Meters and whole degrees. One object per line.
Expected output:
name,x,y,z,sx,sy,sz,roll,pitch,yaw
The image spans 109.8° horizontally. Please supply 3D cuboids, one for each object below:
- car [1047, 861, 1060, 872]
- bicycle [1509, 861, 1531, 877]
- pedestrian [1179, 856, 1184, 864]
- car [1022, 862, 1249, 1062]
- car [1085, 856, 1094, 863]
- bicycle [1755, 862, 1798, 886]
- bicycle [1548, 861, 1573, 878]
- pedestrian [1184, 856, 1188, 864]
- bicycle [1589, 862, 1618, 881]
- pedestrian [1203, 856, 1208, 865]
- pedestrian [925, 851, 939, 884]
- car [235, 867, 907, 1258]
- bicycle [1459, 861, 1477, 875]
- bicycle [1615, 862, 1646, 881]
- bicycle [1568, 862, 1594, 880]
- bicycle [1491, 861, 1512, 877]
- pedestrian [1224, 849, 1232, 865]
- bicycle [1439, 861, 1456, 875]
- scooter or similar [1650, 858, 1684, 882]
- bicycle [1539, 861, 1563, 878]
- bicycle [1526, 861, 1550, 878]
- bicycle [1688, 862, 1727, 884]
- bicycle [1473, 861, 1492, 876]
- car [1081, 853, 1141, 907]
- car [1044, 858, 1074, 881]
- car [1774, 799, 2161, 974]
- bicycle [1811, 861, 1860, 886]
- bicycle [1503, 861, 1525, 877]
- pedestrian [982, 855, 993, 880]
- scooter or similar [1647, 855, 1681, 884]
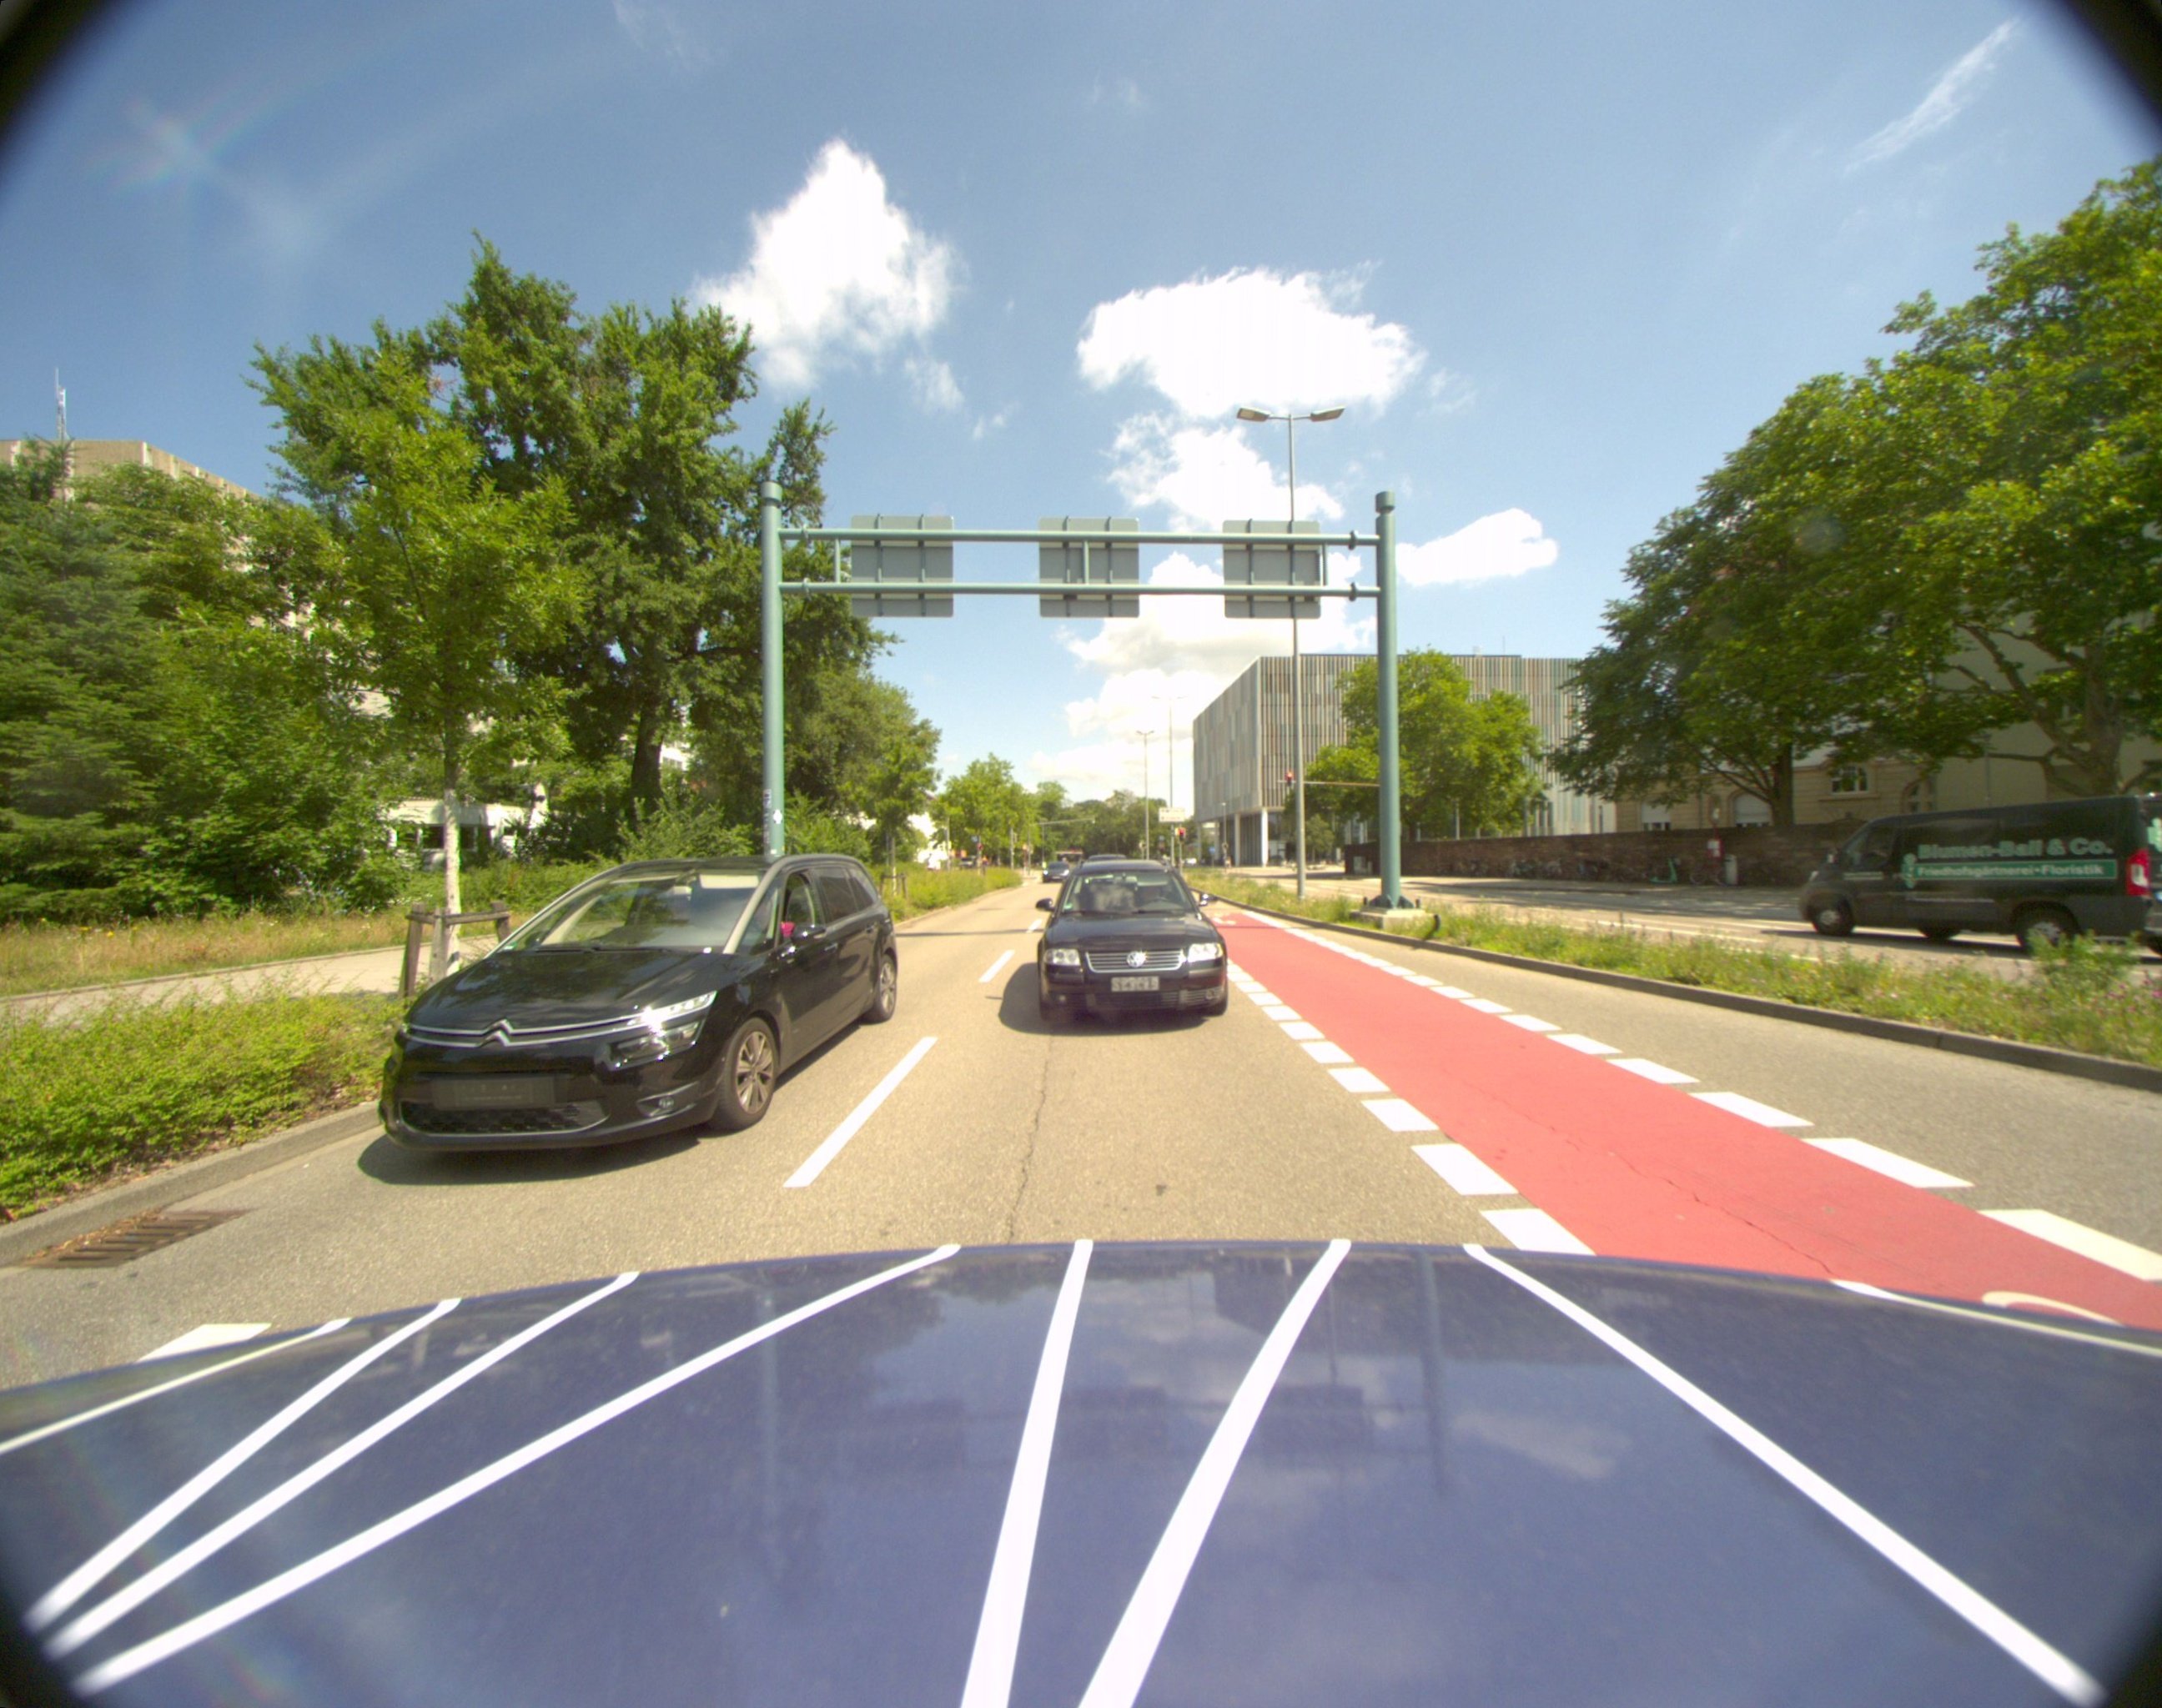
car,-4.341,1.960,122.148,1.816,1.598,4.479,-3,0,1
bicycle,23.350,0.794,40.424,0.265,0.826,1.234,-1,0,-11
pedestrian,16.973,1.043,128.396,0.696,1.445,0.689,-1,0,5
car,0.462,0.873,8.280,1.723,1.472,4.594,-3,0,1
car,2.138,1.354,184.311,1.758,1.581,4.275,-1,0,-4
bicycle,25.180,0.710,27.537,0.265,0.826,1.235,-1,0,-11
bicycle,23.654,0.753,37.485,0.265,0.826,1.235,-1,0,-11
pedestrian,17.926,1.004,129.909,0.696,1.445,0.689,-1,0,5
bicycle,23.949,0.787,34.839,0.265,0.826,1.235,-1,0,-11
pedestrian,19.342,0.989,118.359,0.696,1.445,0.689,-1,0,5
pedestrian,-9.196,0.830,46.908,0.846,2.026,0.901,-1,0,-10
car,-2.769,0.961,5.596,1.816,1.598,4.479,-3,0,1
bicycle,22.798,0.838,44.770,0.265,0.826,1.235,-1,0,-11
bicycle,24.139,0.775,33.387,0.265,0.826,1.235,-1,0,-11
bicycle,23.795,0.784,36.174,0.265,0.826,1.235,-1,0,-11
bicycle,23.144,0.822,41.819,0.265,0.826,1.234,-1,0,-11
pedestrian,18.742,0.433,96.883,0.864,2.002,0.995,-1,0,-1
bicycle,22.480,0.837,46.665,0.265,0.826,1.235,-1,0,-11
scooter or similar,24.566,0.670,31.867,0.266,1.014,1.140,-1,0,-22
bicycle,23.218,0.753,37.551,0.265,0.826,1.234,-1,0,-11
bicycle,23.460,0.791,39.014,0.265,0.826,1.235,-1,0,-11
bicycle,24.810,0.743,30.097,0.265,0.826,1.233,-1,0,-21
bicycle,22.957,0.811,43.454,0.265,0.826,1.234,-1,0,-11
car,0.926,0.793,24.936,1.723,1.545,4.594,-3,0,1
car,-1.460,1.018,51.178,1.806,1.361,4.157,-1,1,1
car,14.261,0.438,11.920,2.153,2.162,5.018,1,0,0
bicycle,25.675,0.662,25.867,0.265,0.826,1.235,-1,0,-11
bicycle,22.844,0.800,40.100,0.265,0.826,1.234,-1,0,-11
pedestrian,-6.701,0.946,54.423,0.640,1.754,0.885,-1,0,-17
scooter or similar,23.848,0.626,31.091,0.265,1.182,1.234,-1,0,-11
